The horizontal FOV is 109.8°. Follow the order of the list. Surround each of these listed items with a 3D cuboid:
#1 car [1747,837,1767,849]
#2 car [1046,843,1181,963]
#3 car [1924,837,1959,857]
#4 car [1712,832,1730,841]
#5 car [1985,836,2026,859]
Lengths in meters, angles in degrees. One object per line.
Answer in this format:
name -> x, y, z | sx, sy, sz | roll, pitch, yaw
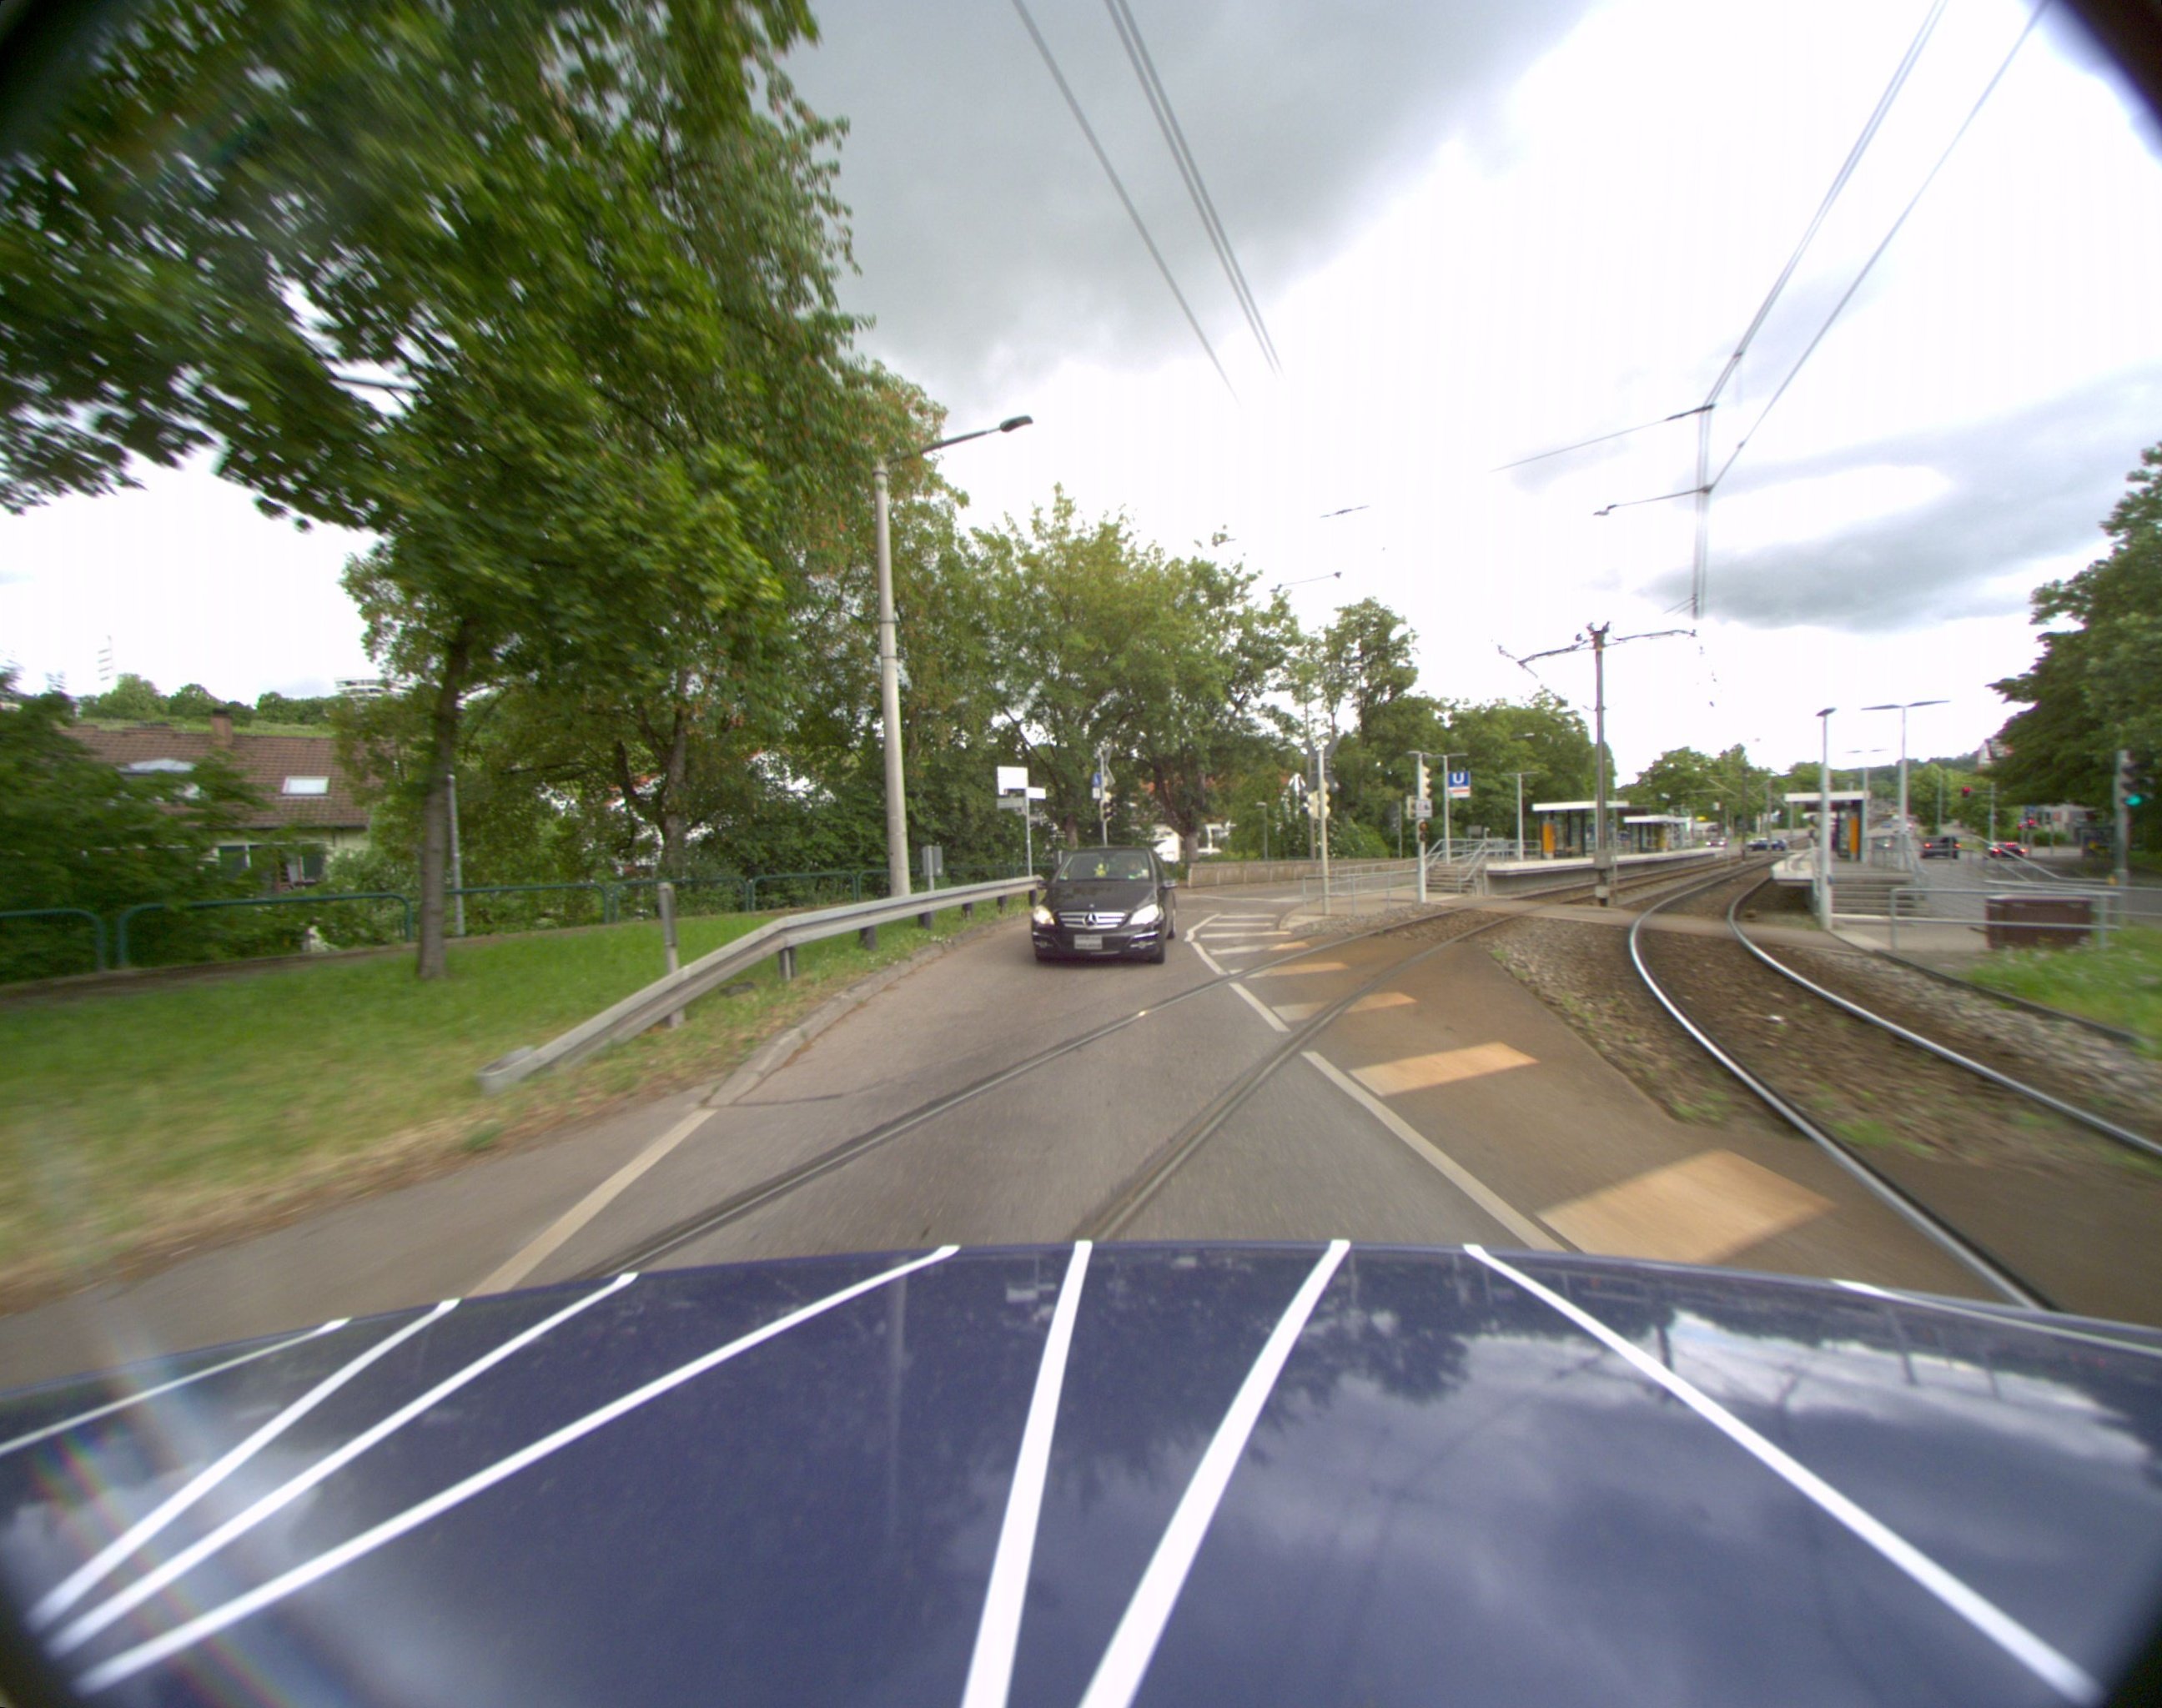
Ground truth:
car -> 83.899, -1.408, 94.320 | 1.699, 1.470, 3.715 | 2, 2, 43
car -> 0.717, 0.623, 12.481 | 1.710, 1.574, 4.444 | 0, 1, 9
car -> 73.846, -0.607, 65.210 | 3.801, 1.689, 1.766 | -1, 2, -44
car -> 93.683, -2.505, 111.206 | 1.712, 1.277, 3.581 | 2, 2, 43
car -> 75.739, -0.578, 62.279 | 3.807, 1.829, 1.737 | -1, 2, -44
